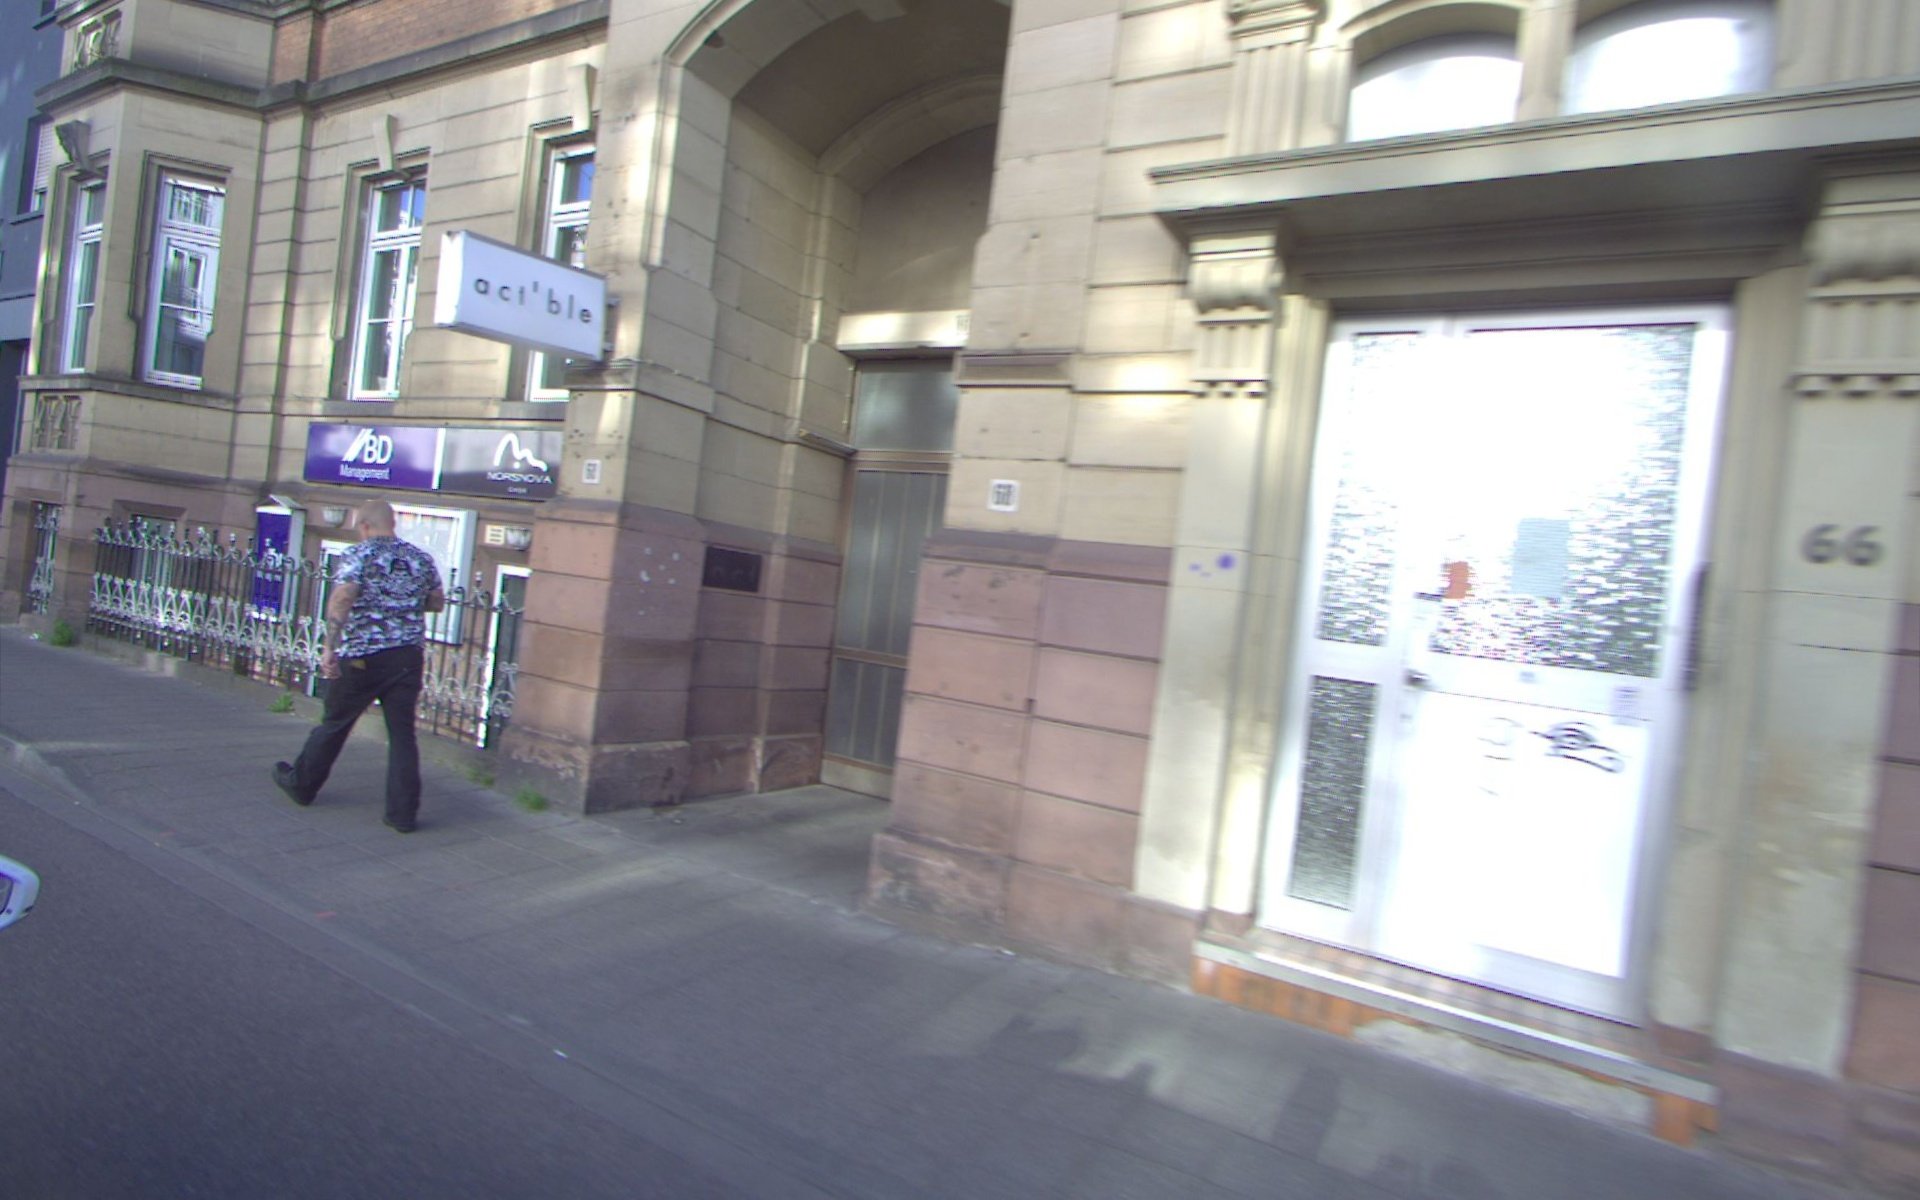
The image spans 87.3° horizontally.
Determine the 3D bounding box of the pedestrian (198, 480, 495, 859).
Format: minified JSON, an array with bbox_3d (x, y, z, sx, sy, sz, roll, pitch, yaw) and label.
[{"bbox_3d":[-3.325,0.336,5.466,1.074,1.772,0.781,9,1,29],"label":"pedestrian"}]
